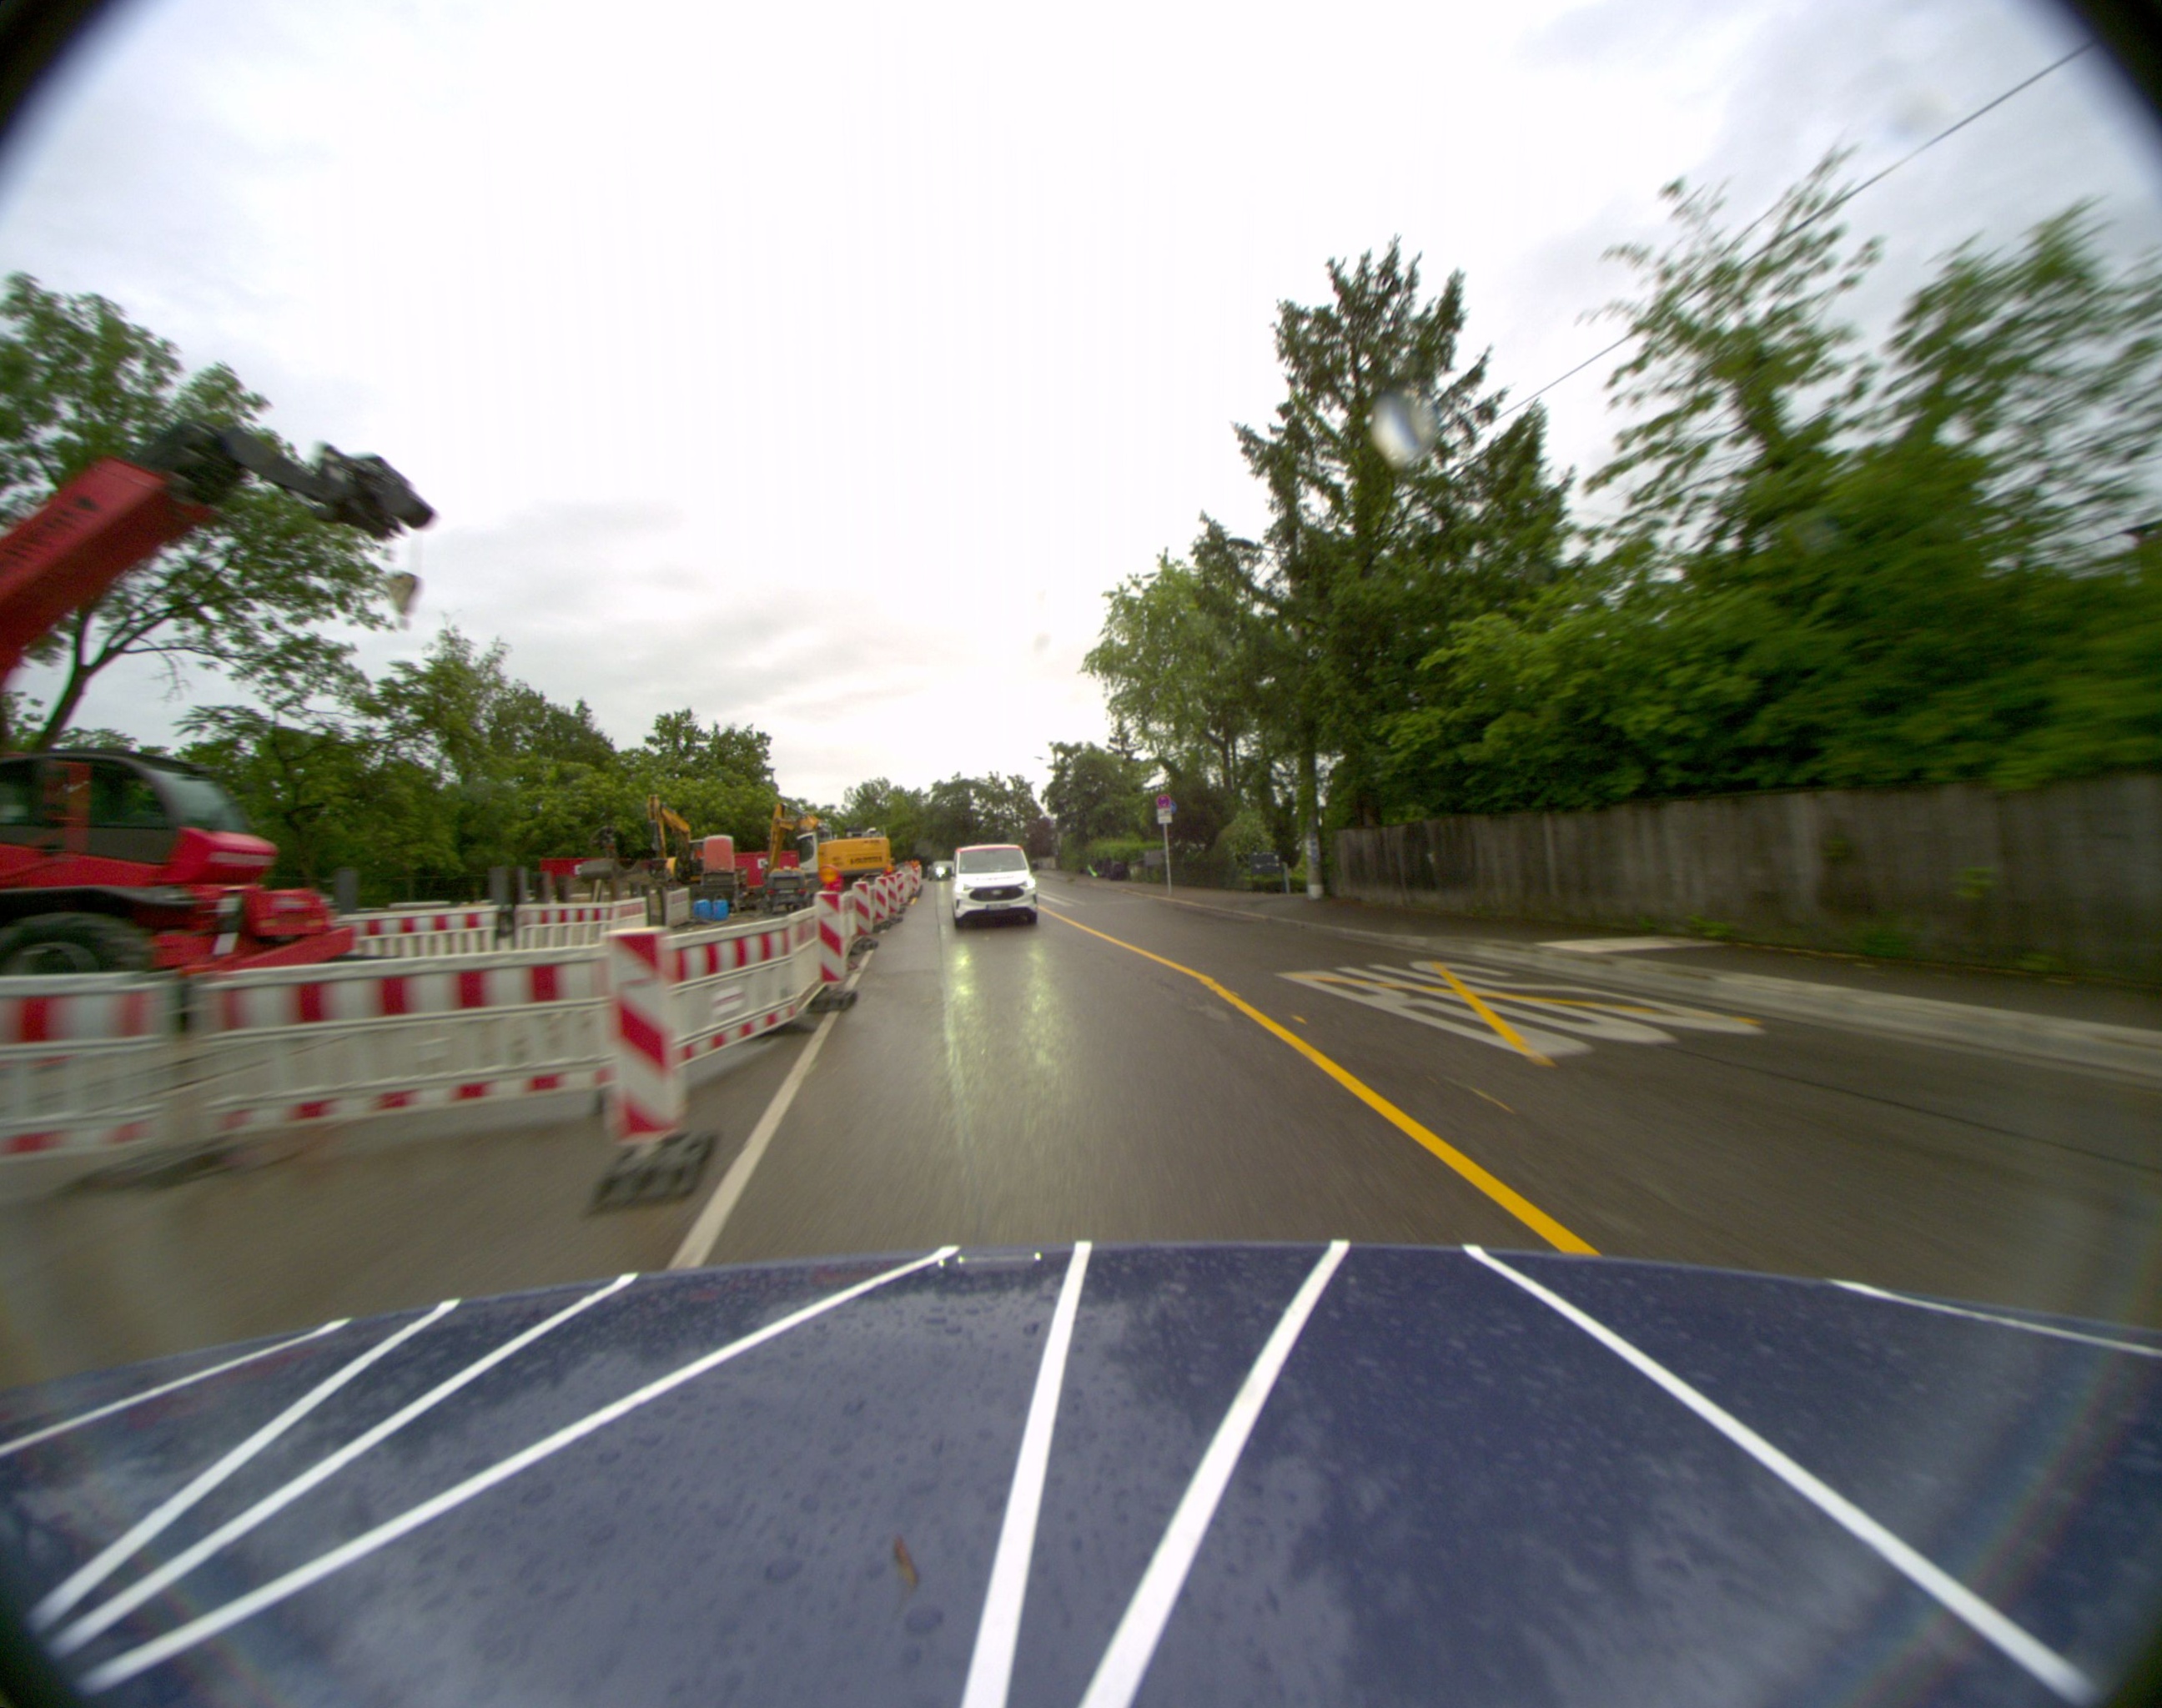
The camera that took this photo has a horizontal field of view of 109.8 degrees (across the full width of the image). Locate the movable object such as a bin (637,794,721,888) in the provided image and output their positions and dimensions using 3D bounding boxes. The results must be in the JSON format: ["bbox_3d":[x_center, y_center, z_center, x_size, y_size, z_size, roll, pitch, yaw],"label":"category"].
[{"bbox_3d":[-18.002,-0.528,34.297,2.000,3.866,4.612,-4,0,-13],"label":"movable object such as a bin"}]

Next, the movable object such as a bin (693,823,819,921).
[{"bbox_3d":[-12.172,0.700,28.743,4.003,3.182,2.406,-4,-5,-20],"label":"movable object such as a bin"}]

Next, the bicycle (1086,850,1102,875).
[{"bbox_3d":[0.717,0.464,42.498,0.422,1.342,1.740,-4,2,-11],"label":"bicycle"}]

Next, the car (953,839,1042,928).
[{"bbox_3d":[-2.293,0.738,19.686,2.000,2.001,4.946,1,-2,-9],"label":"car"}]

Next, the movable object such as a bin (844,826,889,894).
[{"bbox_3d":[-11.257,0.233,40.027,2.001,3.287,3.829,-3,3,-15],"label":"movable object such as a bin"}]

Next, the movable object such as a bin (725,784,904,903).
[{"bbox_3d":[-12.914,-0.514,36.006,10.788,4.892,3.072,0,4,43],"label":"movable object such as a bin"}]

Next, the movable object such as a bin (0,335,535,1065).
[{"bbox_3d":[-10.834,-1.358,8.250,6.975,6.651,3.041,-3,1,-15],"label":"movable object such as a bin"}]

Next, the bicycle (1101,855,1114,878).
[{"bbox_3d":[1.361,0.630,39.270,0.339,1.101,1.254,-4,2,-11],"label":"bicycle"}]
